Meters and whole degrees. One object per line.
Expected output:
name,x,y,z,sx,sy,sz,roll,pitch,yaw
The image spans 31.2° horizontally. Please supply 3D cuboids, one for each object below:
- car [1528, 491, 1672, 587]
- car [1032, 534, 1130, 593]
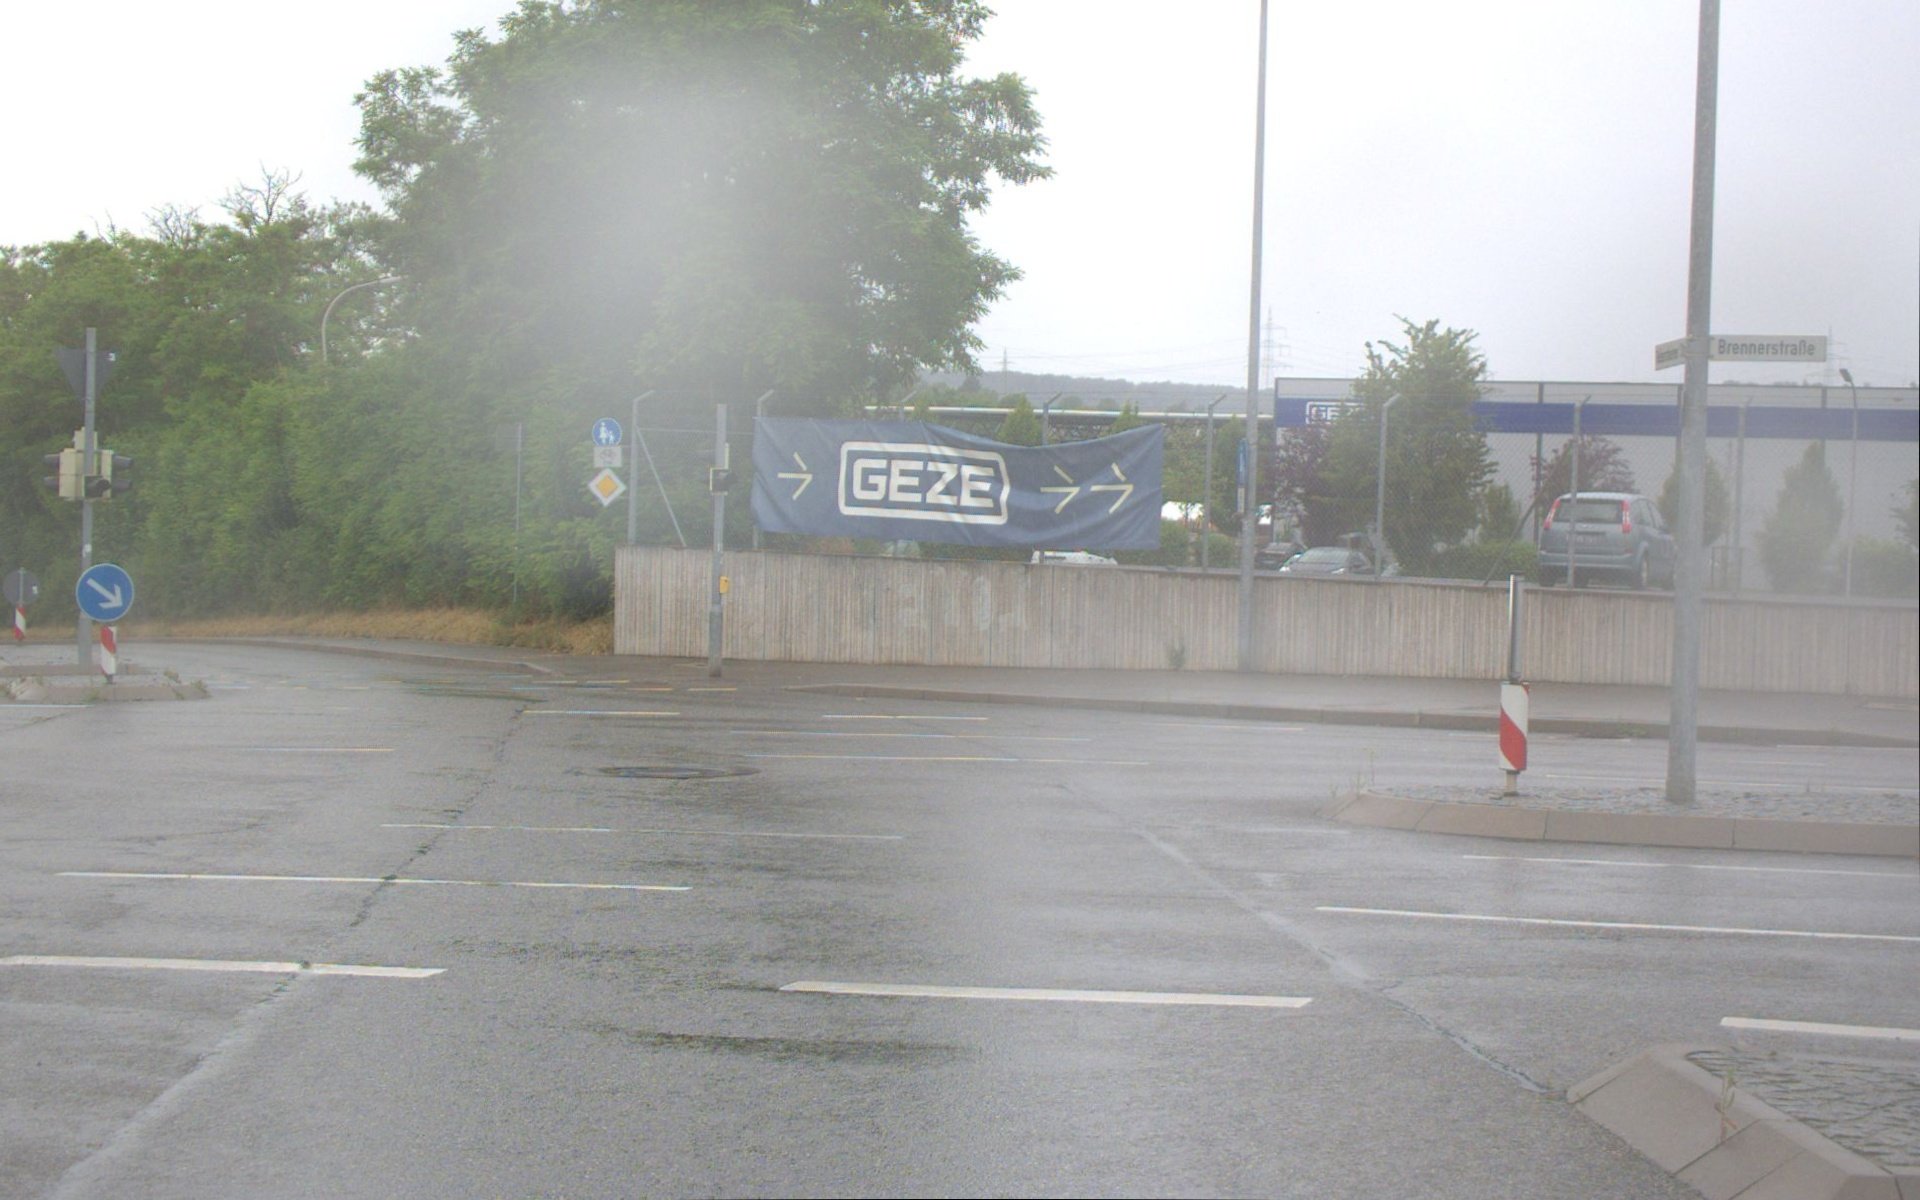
car,10.713,-1.003,57.428,1.744,1.548,3.527,1,1,21
car,3.396,-1.019,95.894,1.668,1.601,3.527,1,1,21
